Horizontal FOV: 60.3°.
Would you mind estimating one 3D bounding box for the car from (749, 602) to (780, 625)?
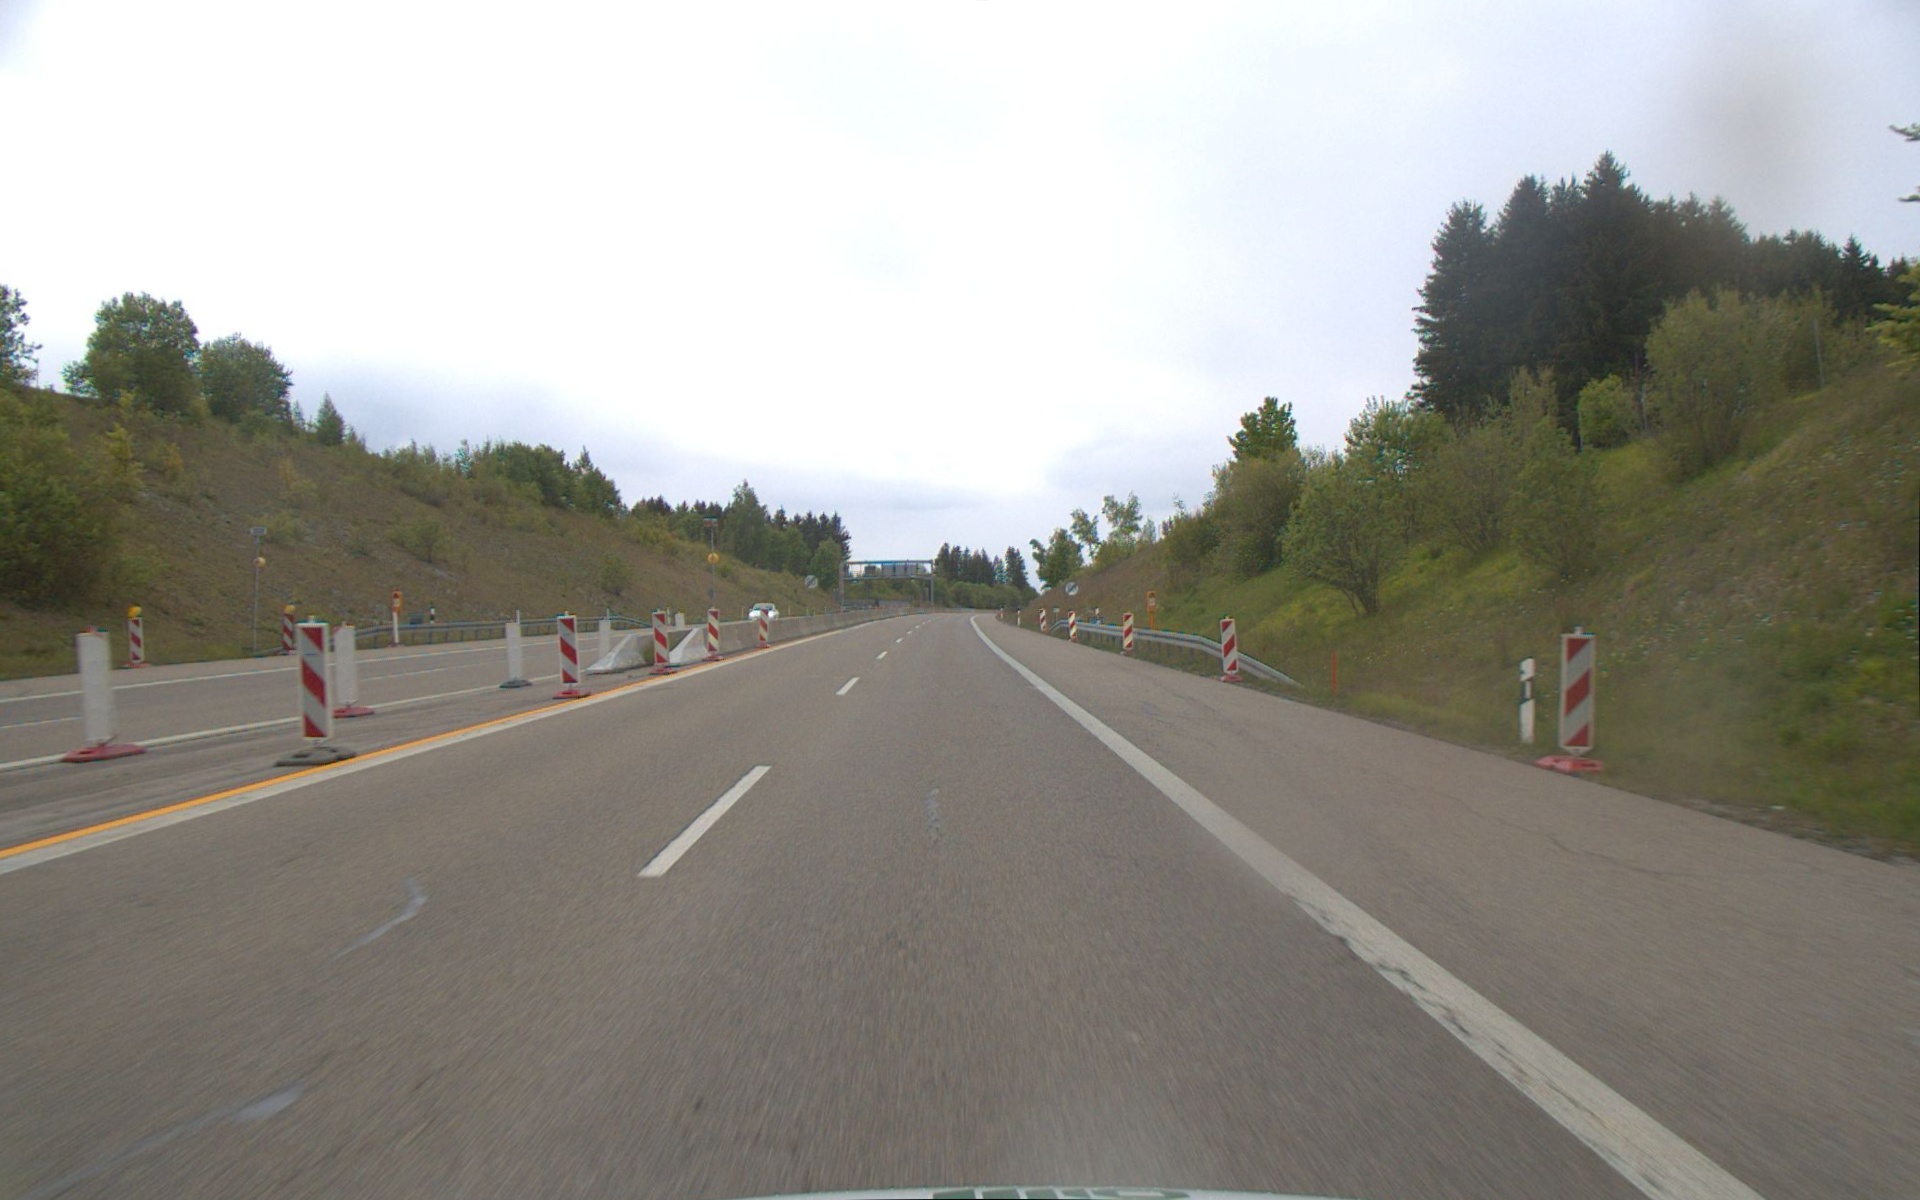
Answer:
[{"bbox_3d":[-14.554,1.043,123.342,1.875,1.629,4.165,-1,-1,-1],"label":"car"}]
